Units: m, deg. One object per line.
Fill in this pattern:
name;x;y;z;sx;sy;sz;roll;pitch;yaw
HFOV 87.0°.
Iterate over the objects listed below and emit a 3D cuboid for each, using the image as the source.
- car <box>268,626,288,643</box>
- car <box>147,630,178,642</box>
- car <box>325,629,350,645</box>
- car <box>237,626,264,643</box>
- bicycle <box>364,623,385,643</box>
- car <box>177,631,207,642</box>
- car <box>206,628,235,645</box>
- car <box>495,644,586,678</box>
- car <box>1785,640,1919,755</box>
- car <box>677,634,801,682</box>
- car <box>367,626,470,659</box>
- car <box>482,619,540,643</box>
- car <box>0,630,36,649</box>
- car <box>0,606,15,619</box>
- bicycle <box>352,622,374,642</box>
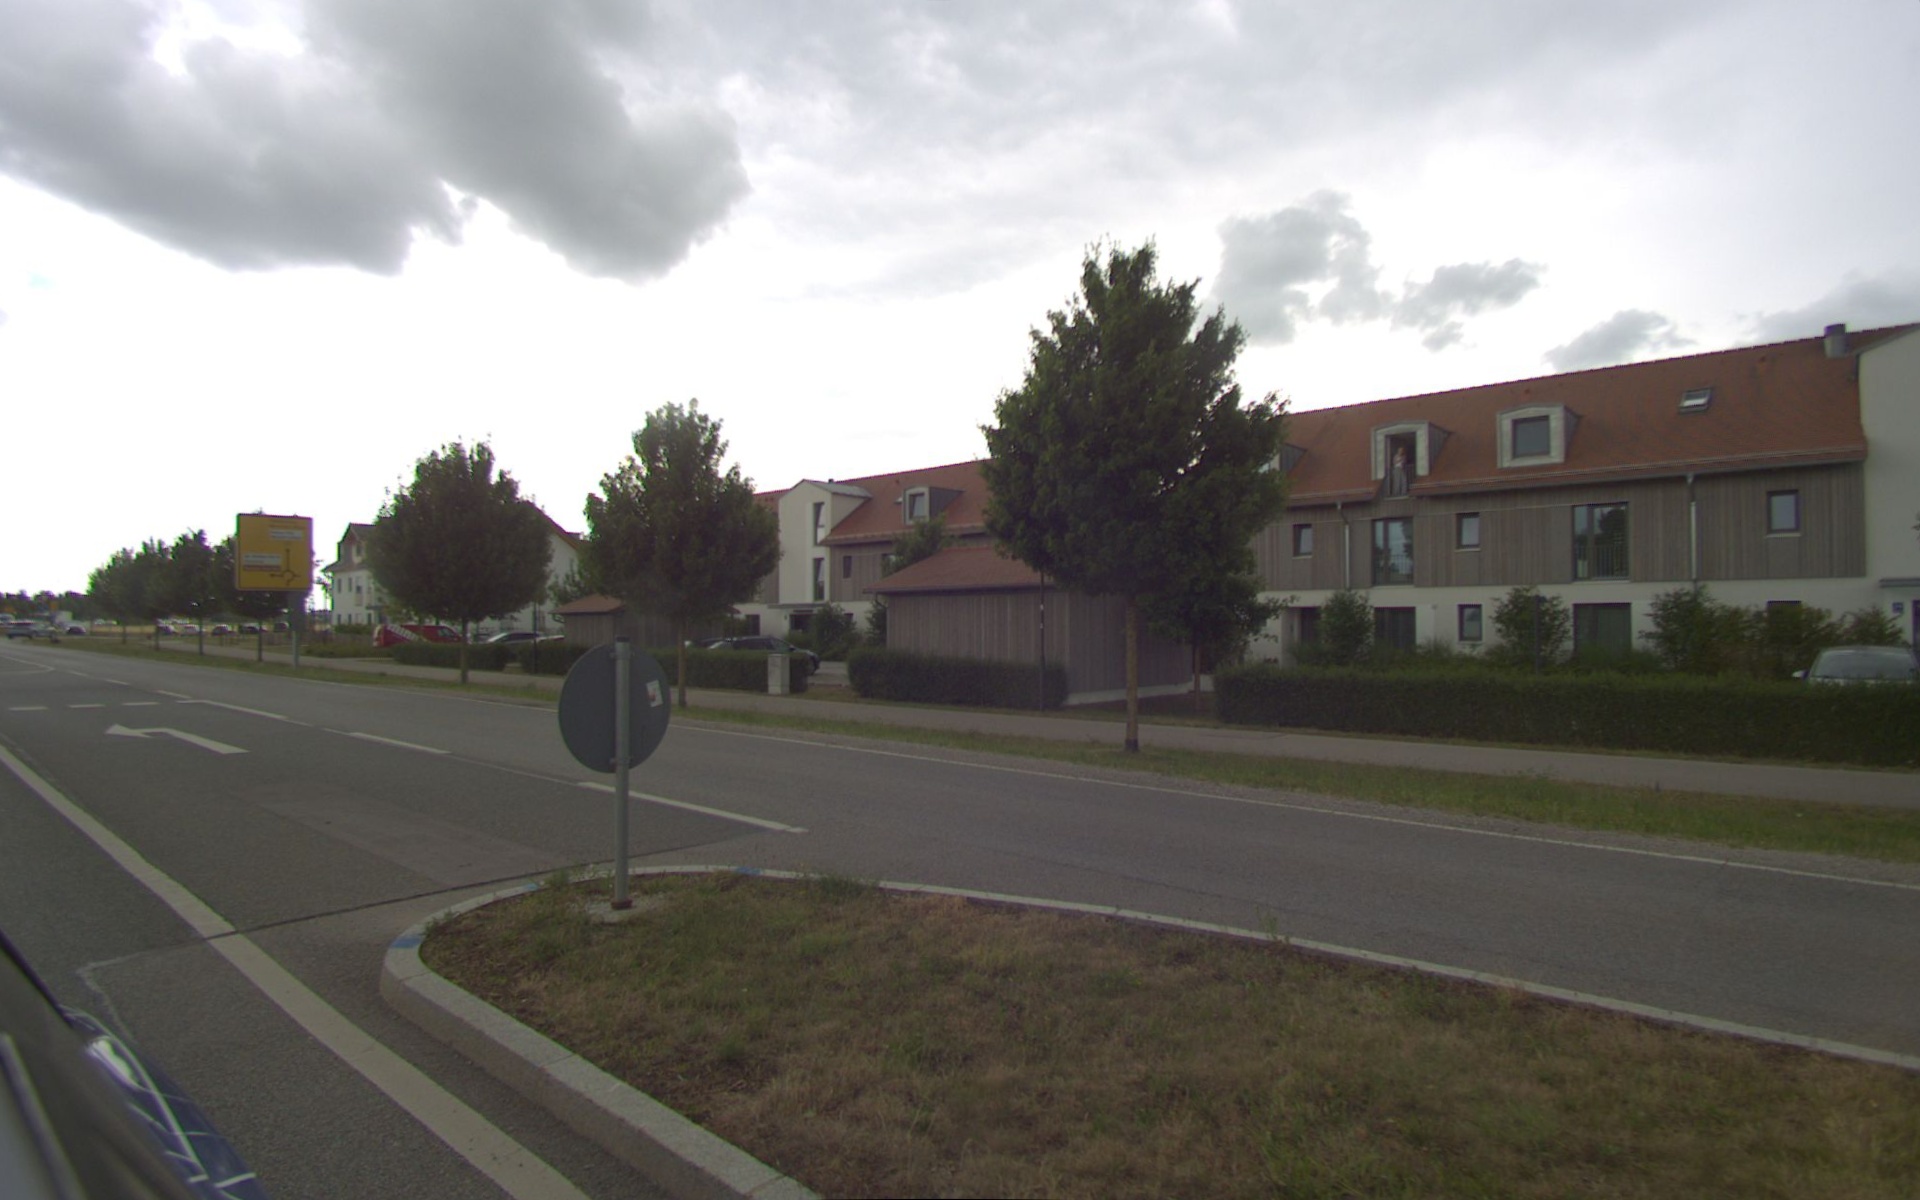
car;-85.584;4.335;127.030;1.966;2.029;4.010;3;-4;-33
car;-96.769;4.380;122.845;1.965;1.298;4.013;2;-3;-24
car;-81.159;4.827;131.978;1.965;2.029;4.013;2;-3;-21
car;-88.343;4.266;126.096;1.965;2.029;4.013;2;-3;-24
bicycle;-42.780;2.390;73.947;2.093;1.439;0.675;-2;-4;41
car;-93.946;4.477;123.845;1.965;1.298;4.013;2;-3;-24
car;-91.421;4.583;125.137;1.965;2.029;4.013;2;-3;-24
car;-19.091;2.778;46.107;1.562;1.501;3.477;-2;-4;41
car;15.026;1.502;16.662;2.000;1.568;3.944;-2;-1;42
car;-7.963;2.102;36.640;2.000;1.630;3.943;-2;-4;43
car;-31.314;2.498;58.608;4.847;1.830;1.908;4;-4;-44
car;-29.818;2.083;67.163;3.998;1.519;1.972;-2;-4;42
car;-76.400;3.187;81.988;3.998;1.455;1.751;-2;-4;41
car;-109.556;1.421;115.715;3.998;1.455;1.751;-2;-4;41
bicycle;-43.300;2.355;73.388;2.093;1.428;0.675;-2;-4;41
